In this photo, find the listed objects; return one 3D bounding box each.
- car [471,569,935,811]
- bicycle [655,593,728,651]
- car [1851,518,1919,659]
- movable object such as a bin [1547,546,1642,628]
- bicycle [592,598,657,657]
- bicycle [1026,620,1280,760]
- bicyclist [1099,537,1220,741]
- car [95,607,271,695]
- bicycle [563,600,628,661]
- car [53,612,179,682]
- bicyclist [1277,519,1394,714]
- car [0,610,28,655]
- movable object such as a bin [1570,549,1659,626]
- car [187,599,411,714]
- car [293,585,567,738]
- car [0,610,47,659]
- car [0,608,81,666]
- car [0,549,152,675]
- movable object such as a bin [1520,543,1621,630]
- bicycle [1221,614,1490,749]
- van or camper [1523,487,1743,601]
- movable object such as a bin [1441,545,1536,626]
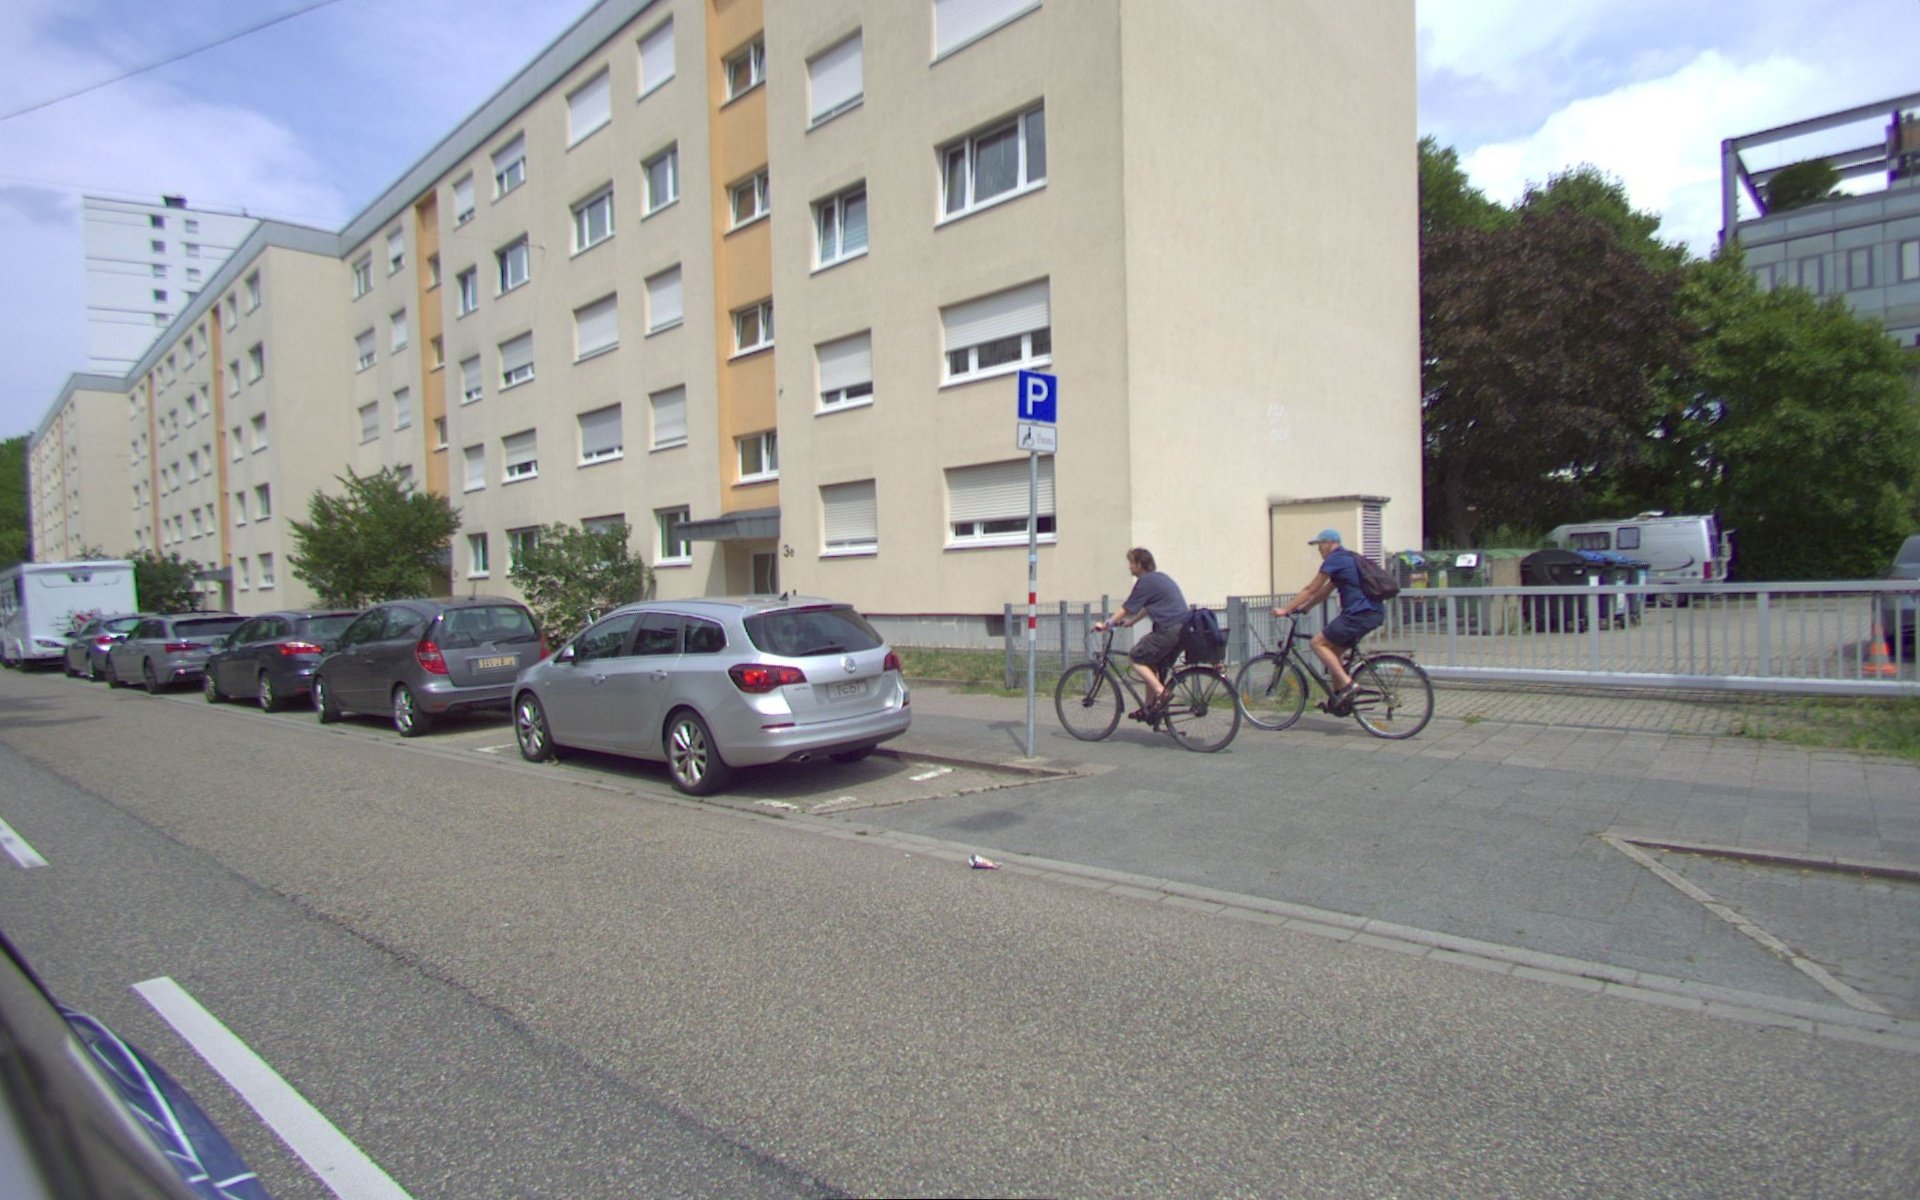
[{"bbox_3d":[-2.507,0.639,9.102,4.550,1.575,1.768,-1,3,43],"label":"car"},{"bbox_3d":[-6.012,0.472,22.592,2.018,1.216,0.527,-1,3,43],"label":"bicycle"},{"bbox_3d":[11.925,-0.189,11.647,3.938,1.494,2.003,-3,2,-41],"label":"car"},{"bbox_3d":[11.650,-0.229,18.585,1.301,1.423,1.232,0,0,41],"label":"movable object such as a bin"},{"bbox_3d":[-7.328,0.576,22.065,0.526,1.216,2.020,-4,3,-42],"label":"bicycle"},{"bbox_3d":[1.593,0.706,8.621,2.080,1.009,0.617,0,3,41],"label":"bicycle"},{"bbox_3d":[1.678,0.296,8.523,0.765,1.620,0.608,0,2,41],"label":"bicyclist"},{"bbox_3d":[-15.493,0.935,20.093,4.620,1.518,1.701,-1,1,39],"label":"car"},{"bbox_3d":[-7.822,0.632,21.652,0.526,1.216,2.020,-5,3,-42],"label":"bicycle"},{"bbox_3d":[-19.925,1.043,23.849,4.055,1.495,1.596,-1,0,40],"label":"car"},{"bbox_3d":[3.279,0.125,8.846,0.765,1.620,0.608,0,2,41],"label":"bicyclist"},{"bbox_3d":[-38.233,1.238,39.745,4.214,1.692,1.821,0,0,39],"label":"car"},{"bbox_3d":[12.695,-0.232,19.624,1.301,1.423,1.232,0,0,41],"label":"movable object such as a bin"},{"bbox_3d":[-10.509,0.800,15.991,4.259,1.515,1.661,-1,2,38],"label":"car"},{"bbox_3d":[-6.837,0.675,12.916,3.836,1.636,1.701,-1,1,39],"label":"car"},{"bbox_3d":[-34.085,1.207,36.057,4.216,1.644,1.829,0,0,41],"label":"car"},{"bbox_3d":[-30.090,1.134,32.757,3.834,1.752,1.973,0,0,41],"label":"car"},{"bbox_3d":[-24.976,0.348,28.200,7.110,3.081,2.588,-1,-1,41],"label":"car"},{"bbox_3d":[10.594,-0.219,17.563,1.301,1.423,1.232,0,0,41],"label":"movable object such as a bin"},{"bbox_3d":[3.378,0.648,8.794,2.080,1.009,0.617,0,3,41],"label":"bicycle"},{"bbox_3d":[18.988,-1.482,28.719,4.903,2.894,1.971,-1,1,44],"label":"van or camper"},{"bbox_3d":[9.671,-0.252,18.521,1.301,1.423,1.232,0,0,41],"label":"movable object such as a bin"}]
